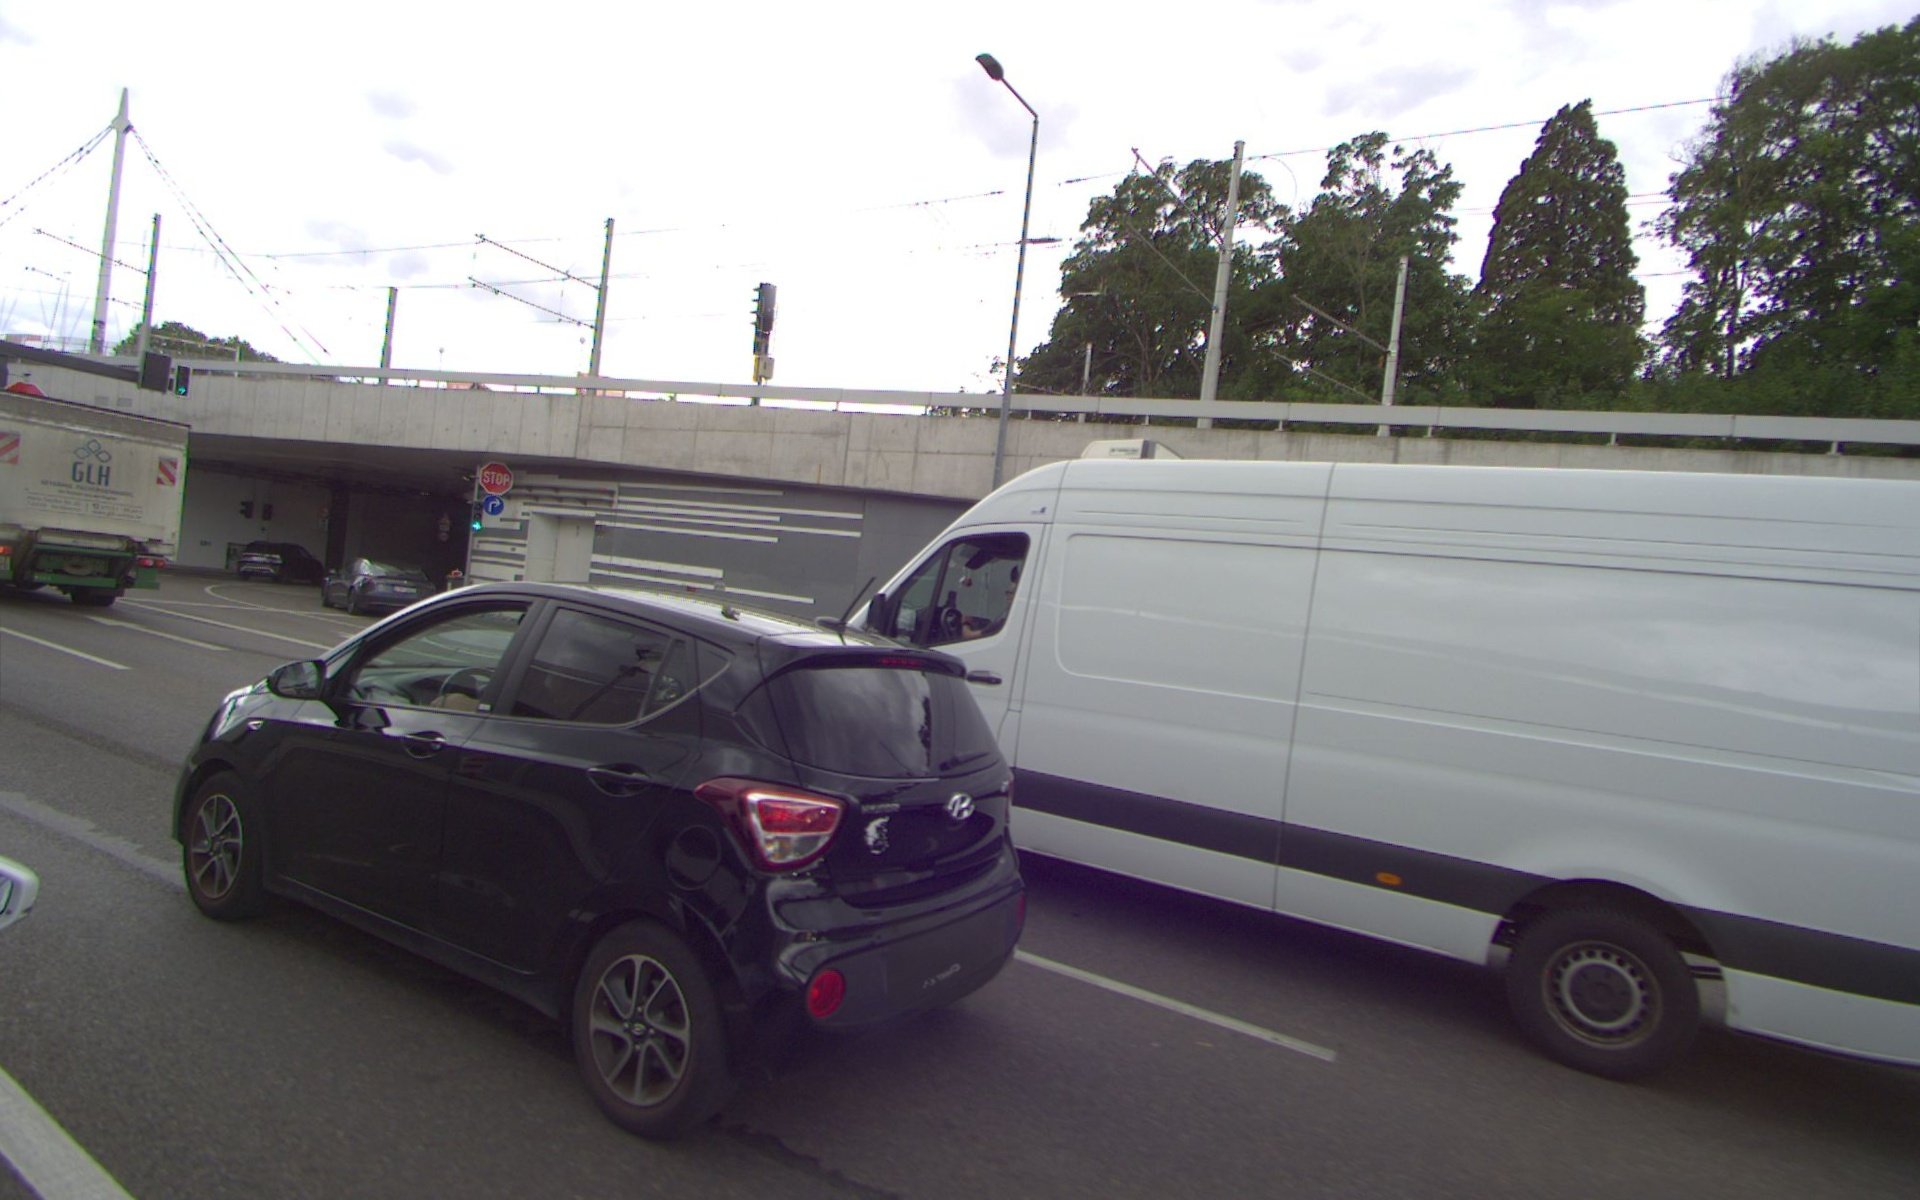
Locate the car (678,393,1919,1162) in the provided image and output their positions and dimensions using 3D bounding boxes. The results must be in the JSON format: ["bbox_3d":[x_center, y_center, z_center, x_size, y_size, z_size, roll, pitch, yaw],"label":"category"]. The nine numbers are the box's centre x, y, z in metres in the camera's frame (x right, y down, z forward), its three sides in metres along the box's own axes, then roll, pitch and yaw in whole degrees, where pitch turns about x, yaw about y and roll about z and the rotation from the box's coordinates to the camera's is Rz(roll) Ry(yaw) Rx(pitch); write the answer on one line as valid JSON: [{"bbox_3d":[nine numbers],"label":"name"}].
[{"bbox_3d":[1.805,0.436,5.982,7.203,2.807,2.078,7,0,31],"label":"car"}]

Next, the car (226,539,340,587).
[{"bbox_3d":[-26.876,-1.487,40.077,1.799,1.610,3.995,7,2,-2],"label":"car"}]

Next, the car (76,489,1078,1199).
[{"bbox_3d":[-1.610,0.576,4.027,3.630,1.562,1.686,7,-2,30],"label":"car"}]

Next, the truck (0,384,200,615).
[{"bbox_3d":[-16.685,-1.784,17.630,7.302,3.224,2.653,6,0,31],"label":"truck"}]

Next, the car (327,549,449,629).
[{"bbox_3d":[-14.771,-0.320,25.841,1.983,1.421,4.415,3,5,-39],"label":"car"}]

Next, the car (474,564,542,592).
[{"bbox_3d":[-26.485,-1.255,59.088,1.657,1.351,3.667,9,2,12],"label":"car"}]
